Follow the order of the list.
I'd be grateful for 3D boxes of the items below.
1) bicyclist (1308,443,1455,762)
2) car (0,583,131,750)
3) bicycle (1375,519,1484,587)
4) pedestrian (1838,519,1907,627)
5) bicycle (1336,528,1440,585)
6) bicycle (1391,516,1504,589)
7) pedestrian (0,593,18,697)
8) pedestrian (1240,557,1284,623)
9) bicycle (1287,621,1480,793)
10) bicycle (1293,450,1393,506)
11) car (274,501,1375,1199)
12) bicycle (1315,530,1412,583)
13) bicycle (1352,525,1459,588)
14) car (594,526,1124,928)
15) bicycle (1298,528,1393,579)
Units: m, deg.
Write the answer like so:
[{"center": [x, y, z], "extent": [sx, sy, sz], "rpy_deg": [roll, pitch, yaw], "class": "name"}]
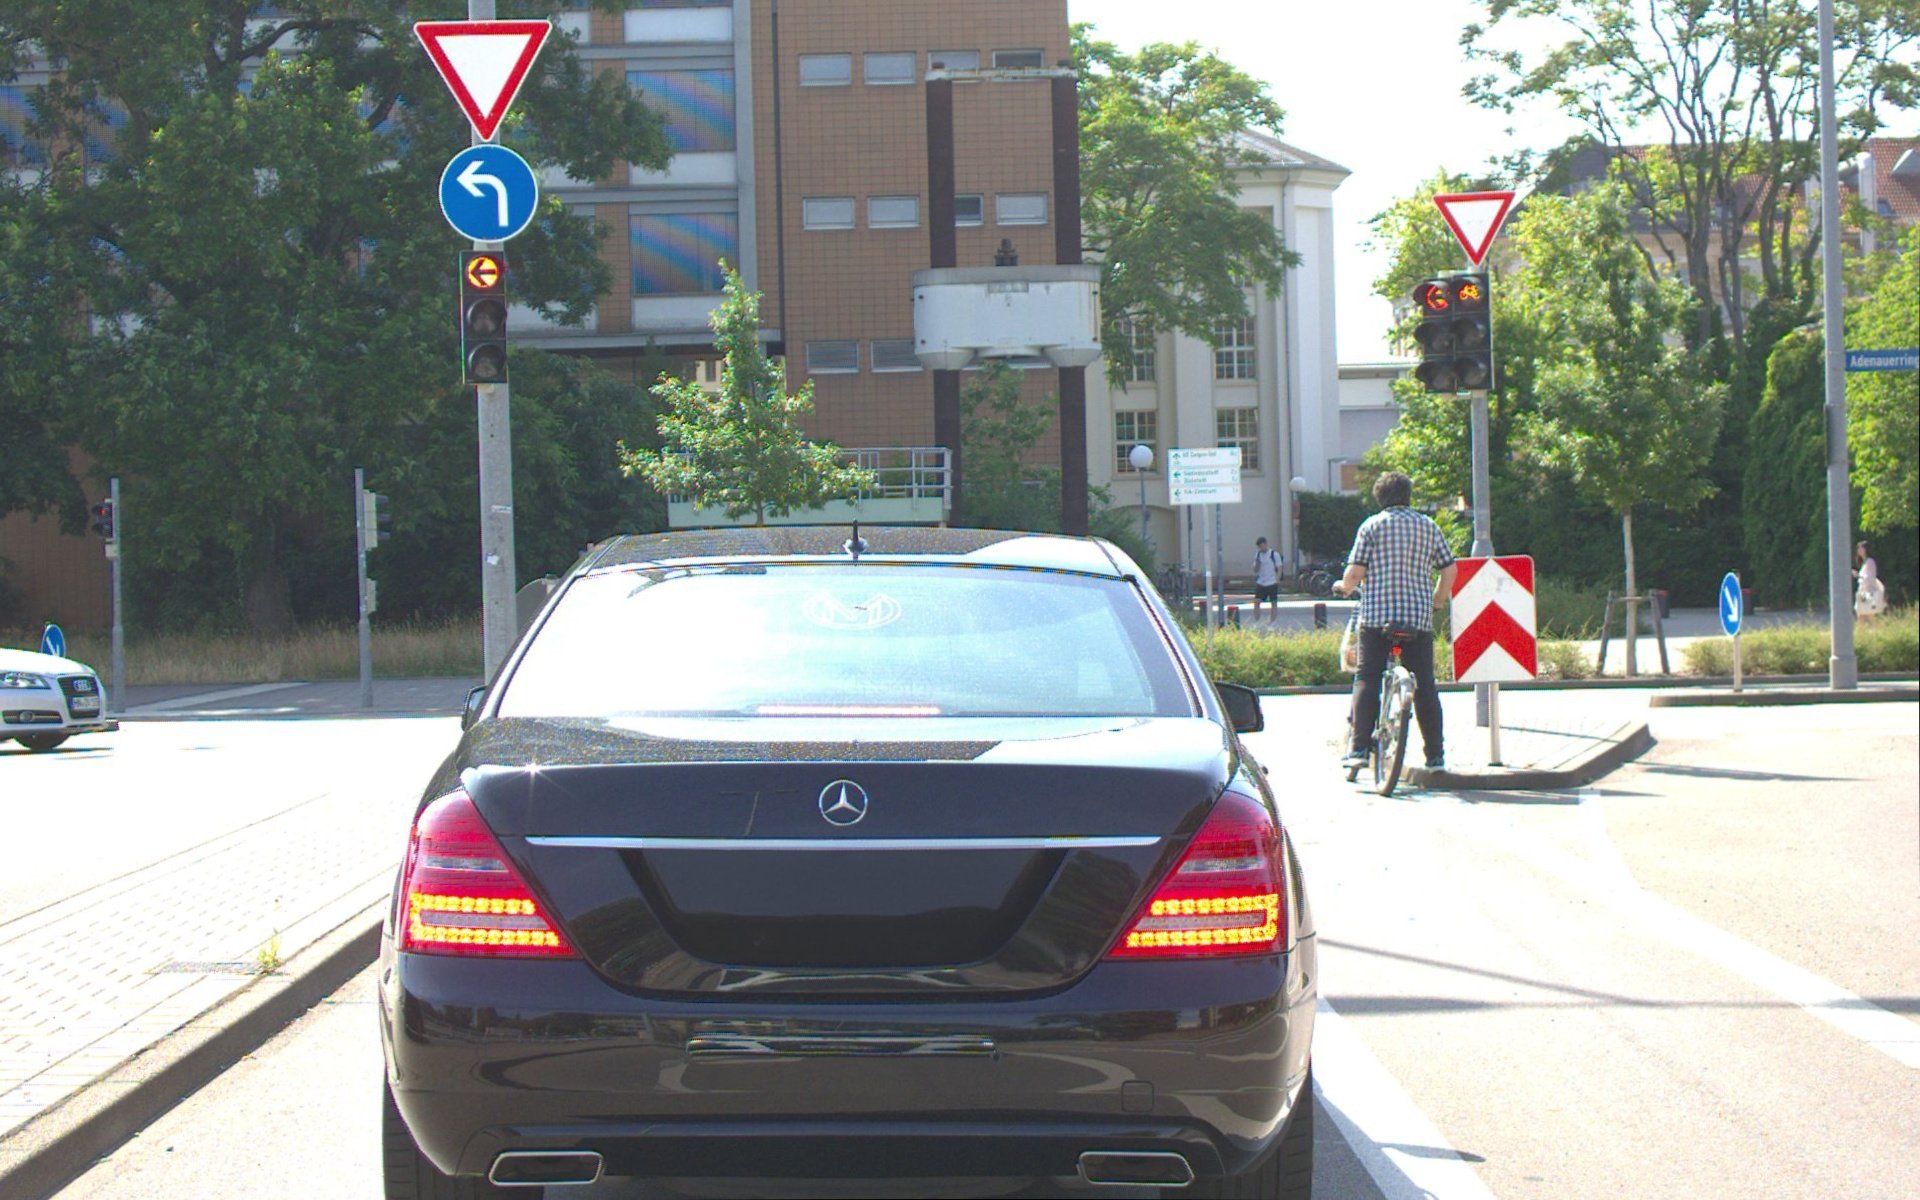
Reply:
[{"center": [2.515, 0.010, 20.595], "extent": [0.685, 1.872, 0.860], "rpy_deg": [0, 0, -7], "class": "bicyclist"}, {"center": [-9.785, 0.624, 31.049], "extent": [4.161, 1.415, 1.583], "rpy_deg": [-2, 1, 14], "class": "car"}, {"center": [12.803, -1.286, 93.785], "extent": [2.823, 1.738, 0.842], "rpy_deg": [-2, 1, -1], "class": "bicycle"}, {"center": [13.591, -0.404, 51.224], "extent": [0.811, 1.574, 0.692], "rpy_deg": [-2, 0, 2], "class": "pedestrian"}, {"center": [12.245, -1.258, 98.370], "extent": [2.823, 1.532, 0.842], "rpy_deg": [-2, 1, -1], "class": "bicycle"}, {"center": [12.977, -1.269, 91.526], "extent": [2.823, 1.830, 0.842], "rpy_deg": [-2, 1, -1], "class": "bicycle"}, {"center": [-16.200, 0.753, 56.818], "extent": [0.798, 1.719, 0.872], "rpy_deg": [-2, 0, 22], "class": "pedestrian"}, {"center": [5.650, -0.185, 64.253], "extent": [0.793, 1.209, 0.757], "rpy_deg": [1, 0, 6], "class": "pedestrian"}, {"center": [2.514, 0.619, 20.632], "extent": [0.692, 0.943, 1.959], "rpy_deg": [1, 1, -7], "class": "bicycle"}, {"center": [11.392, -3.622, 102.272], "extent": [2.823, 1.553, 0.842], "rpy_deg": [-2, 1, -1], "class": "bicycle"}, {"center": [-0.199, 0.579, 8.184], "extent": [1.858, 1.525, 4.714], "rpy_deg": [0, 1, 1], "class": "car"}, {"center": [12.263, -1.324, 104.549], "extent": [2.823, 1.495, 0.842], "rpy_deg": [-2, 1, -1], "class": "bicycle"}, {"center": [12.467, -1.214, 96.264], "extent": [2.823, 1.653, 0.842], "rpy_deg": [-2, 2, -1], "class": "bicycle"}, {"center": [-0.406, 0.463, 15.065], "extent": [1.993, 1.503, 4.000], "rpy_deg": [1, 1, -1], "class": "car"}, {"center": [11.928, -1.442, 106.426], "extent": [2.823, 1.475, 0.841], "rpy_deg": [-2, 1, 0], "class": "bicycle"}]
